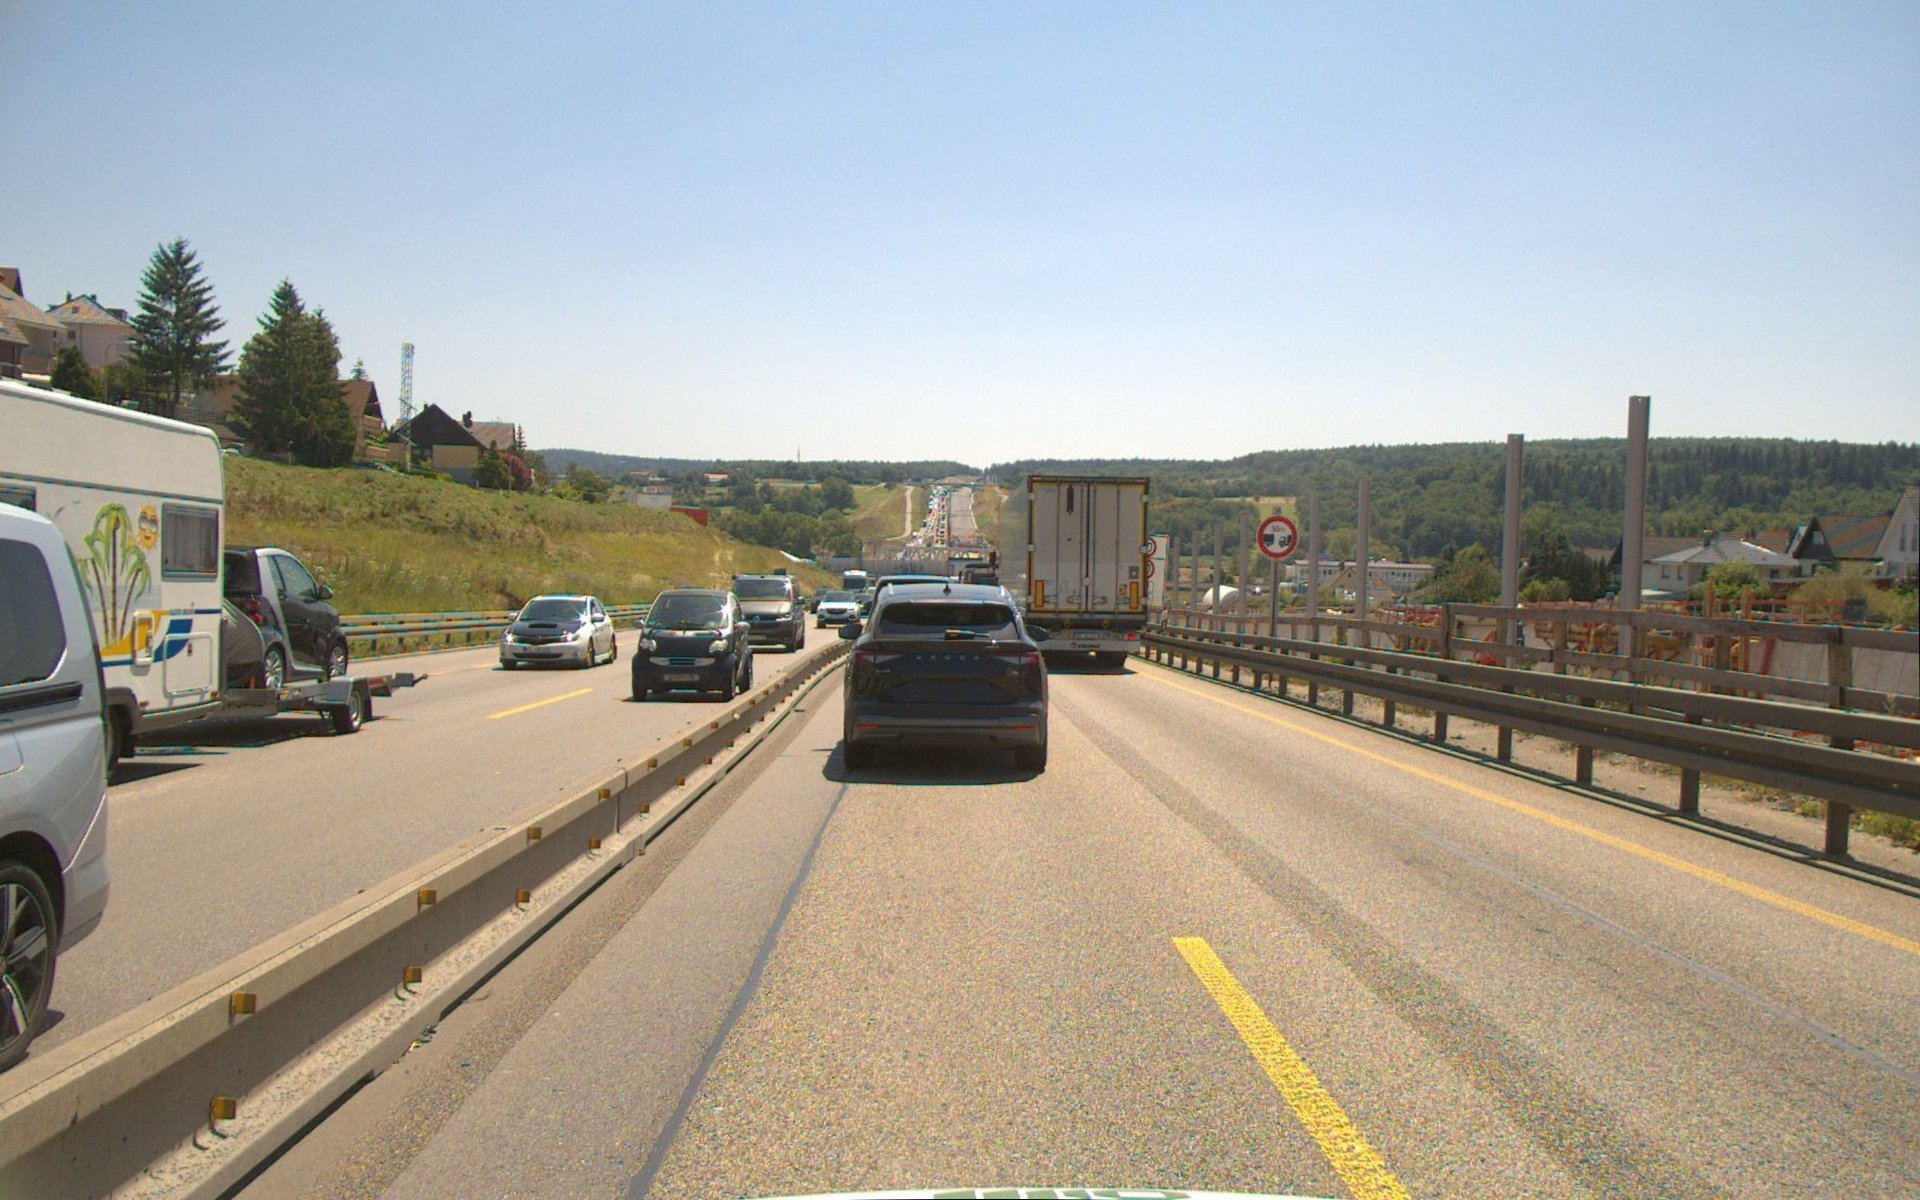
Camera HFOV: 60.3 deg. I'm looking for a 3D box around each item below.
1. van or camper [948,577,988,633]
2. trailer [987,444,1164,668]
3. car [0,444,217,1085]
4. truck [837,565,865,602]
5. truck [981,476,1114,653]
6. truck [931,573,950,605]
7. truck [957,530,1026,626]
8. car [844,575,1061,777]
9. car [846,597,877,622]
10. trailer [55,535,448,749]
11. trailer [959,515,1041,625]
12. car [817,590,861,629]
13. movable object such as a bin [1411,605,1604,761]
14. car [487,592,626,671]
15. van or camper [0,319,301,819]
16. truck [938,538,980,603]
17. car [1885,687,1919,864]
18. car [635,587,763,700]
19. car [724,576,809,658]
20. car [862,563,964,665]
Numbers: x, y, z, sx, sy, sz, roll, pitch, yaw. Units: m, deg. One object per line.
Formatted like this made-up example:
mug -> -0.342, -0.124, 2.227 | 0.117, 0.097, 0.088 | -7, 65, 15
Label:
van or camper -> 0.523, 0.353, 102.580 | 2.339, 3.338, 6.469 | 0, -1, 1
trailer -> 2.494, -0.966, 40.681 | 3.116, 4.592, 13.105 | 1, 0, -1
car -> -3.646, 0.472, 3.717 | 1.800, 1.860, 5.038 | 1, 0, -2
truck -> -11.301, -1.660, 171.742 | 2.723, 3.737, 6.275 | 1, 0, -2
truck -> 2.333, -0.960, 47.167 | 3.116, 4.592, 8.163 | 1, 0, -1
truck -> -2.725, -1.457, 229.310 | 2.586, 4.267, 9.281 | 1, -1, -1
truck -> 1.529, -1.003, 84.578 | 3.116, 4.592, 8.162 | 1, -1, -1
car -> -0.082, 0.637, 15.521 | 1.765, 1.636, 3.999 | 1, 0, -1
car -> -6.049, 0.584, 101.959 | 1.761, 1.492, 4.354 | 0, 0, -1
trailer -> -7.249, 0.381, 17.648 | 2.059, 1.927, 5.140 | 1, 0, -1
trailer -> 1.689, -1.137, 77.405 | 3.116, 4.592, 14.961 | 1, -1, -1
car -> -5.348, 0.407, 73.418 | 1.770, 1.668, 4.170 | 0, 0, -2
movable object such as a bin -> 18.438, 2.685, 56.538 | 3.162, 4.826, 9.651 | 1, -1, -2
car -> -8.123, 0.597, 33.682 | 1.773, 1.456, 4.554 | 1, 0, -1
van or camper -> -7.144, -0.205, 11.753 | 2.245, 3.120, 6.922 | 1, 0, -1
truck -> -0.151, -2.162, 127.316 | 2.795, 4.543, 11.912 | 1, -1, -2
car -> 16.974, 2.911, 25.178 | 2.100, 2.906, 7.024 | 1, -1, 2
car -> -3.742, 0.590, 24.060 | 1.453, 1.531, 2.804 | 0, 0, -1
car -> -5.076, 0.423, 44.016 | 1.872, 2.049, 4.903 | 1, 0, -3
car -> -0.970, 0.308, 34.360 | 1.953, 1.959, 4.506 | 1, -1, -2
